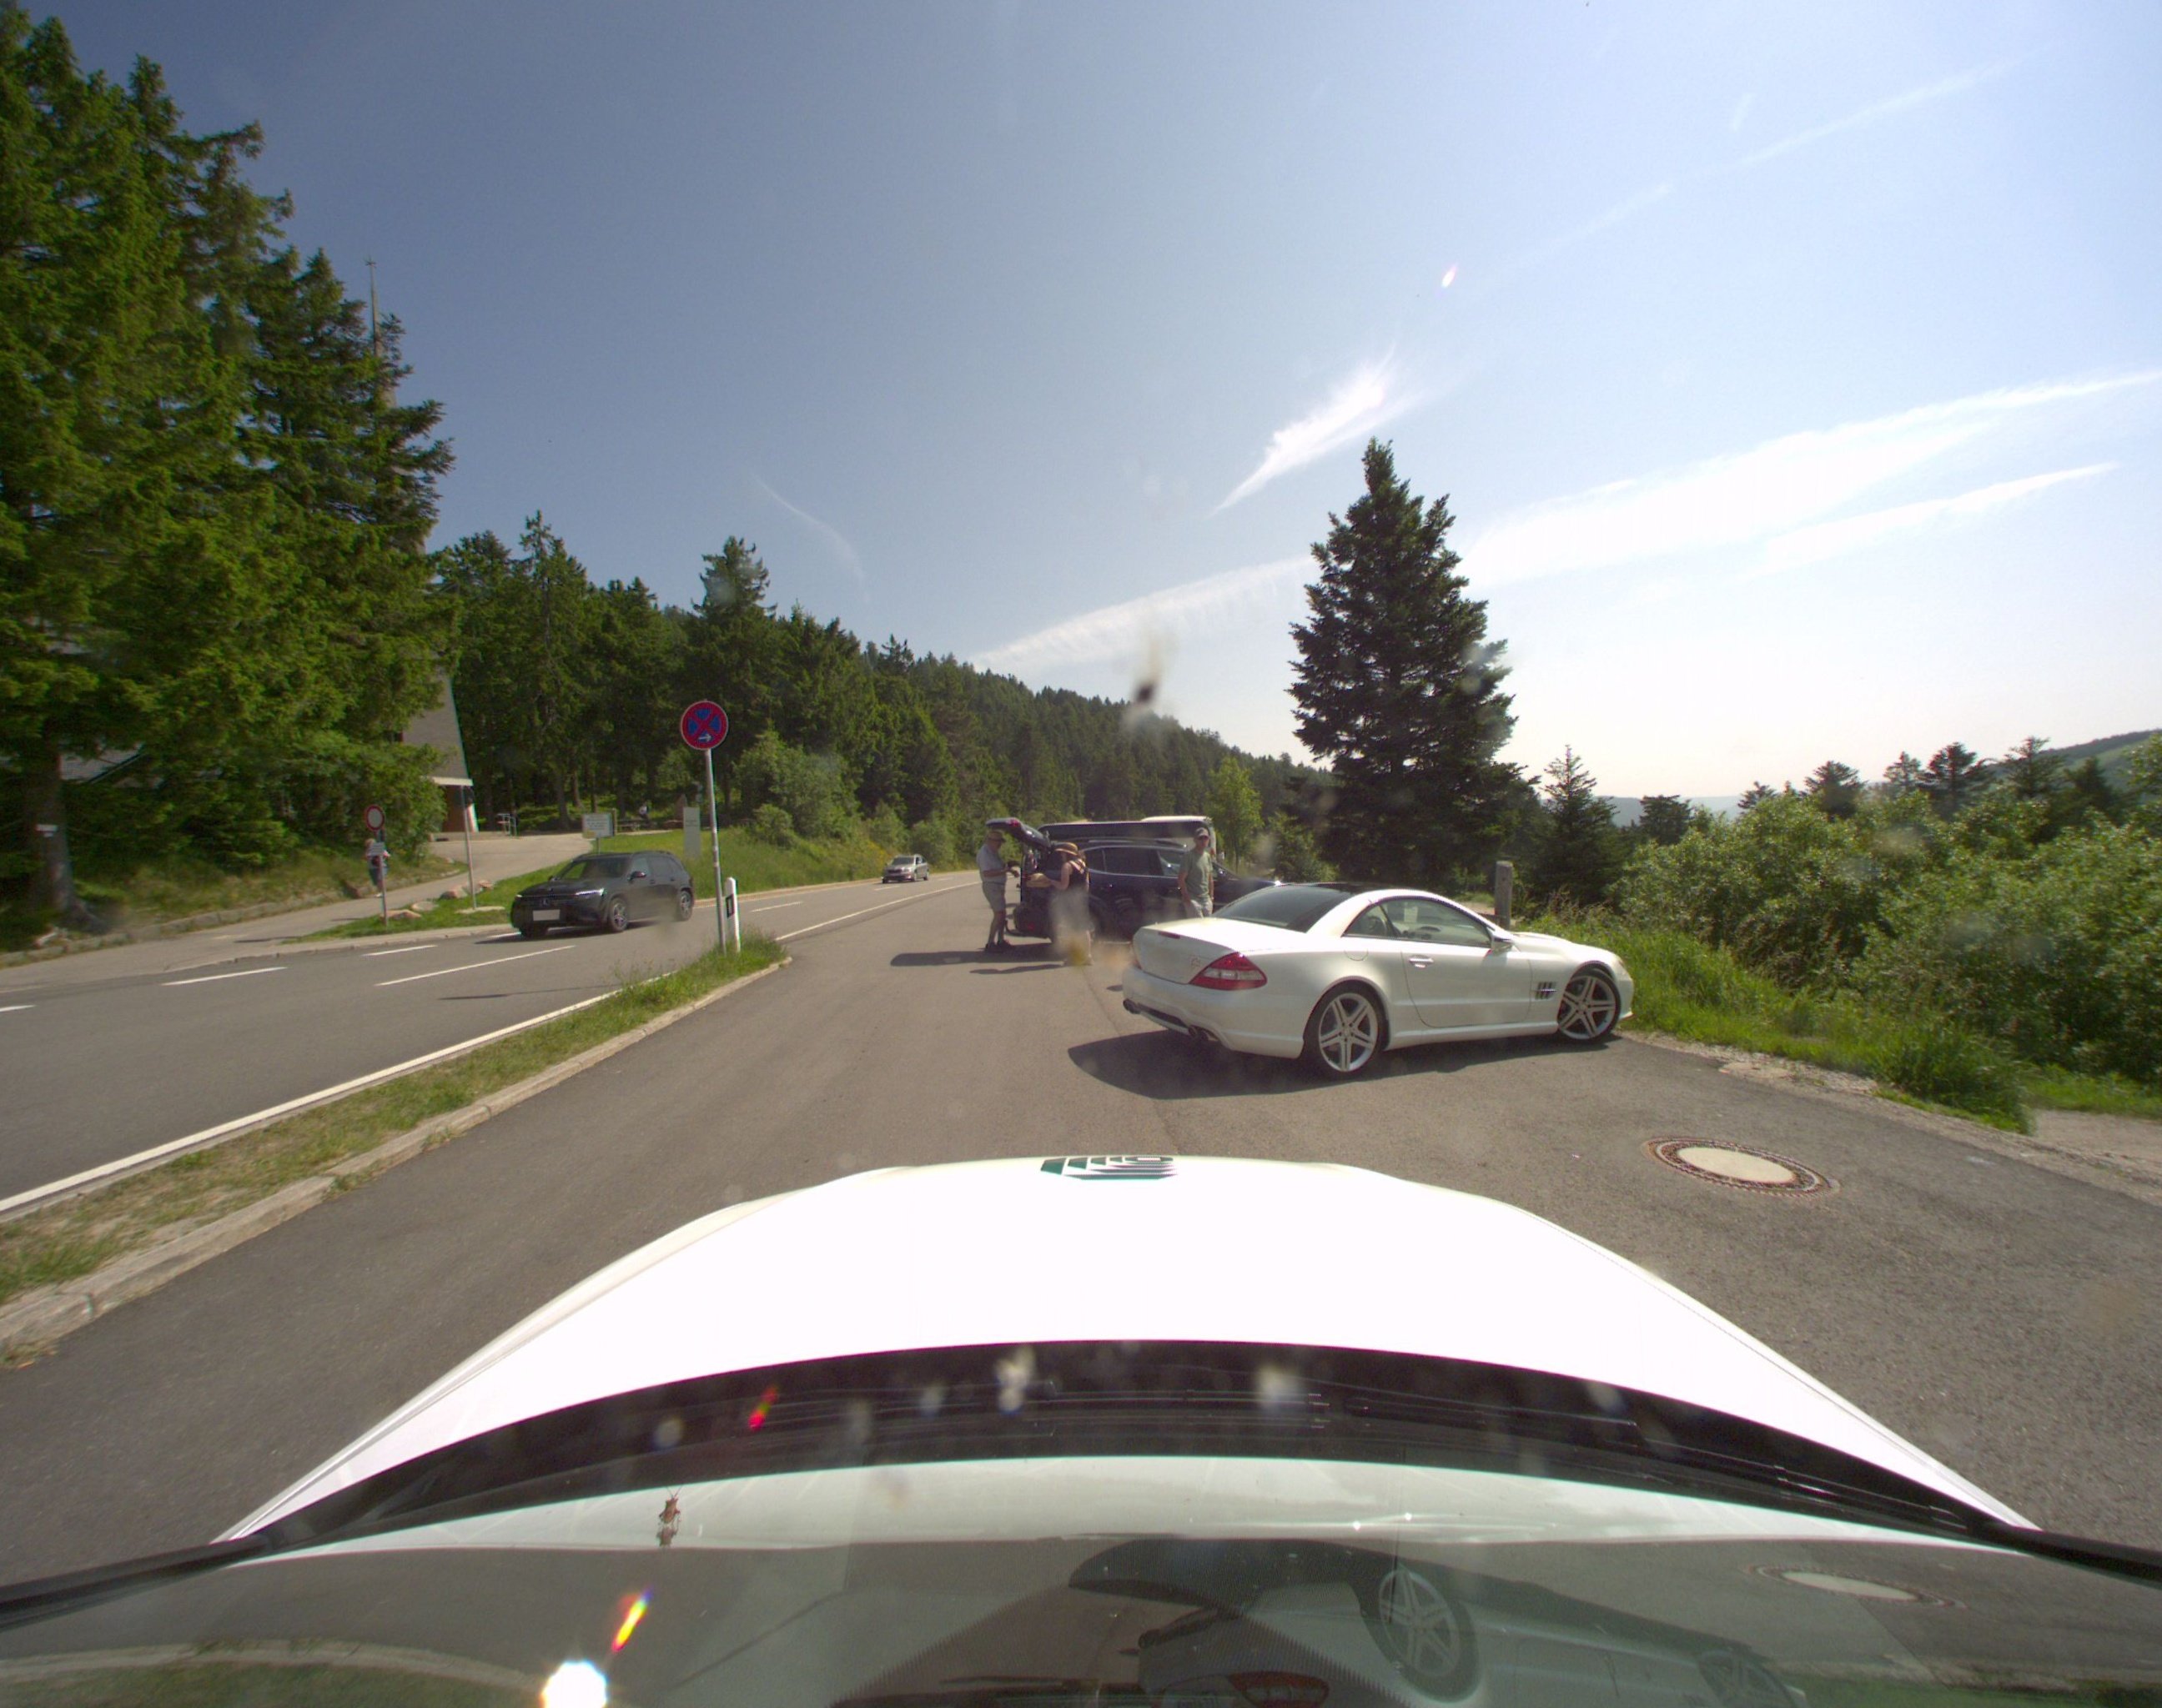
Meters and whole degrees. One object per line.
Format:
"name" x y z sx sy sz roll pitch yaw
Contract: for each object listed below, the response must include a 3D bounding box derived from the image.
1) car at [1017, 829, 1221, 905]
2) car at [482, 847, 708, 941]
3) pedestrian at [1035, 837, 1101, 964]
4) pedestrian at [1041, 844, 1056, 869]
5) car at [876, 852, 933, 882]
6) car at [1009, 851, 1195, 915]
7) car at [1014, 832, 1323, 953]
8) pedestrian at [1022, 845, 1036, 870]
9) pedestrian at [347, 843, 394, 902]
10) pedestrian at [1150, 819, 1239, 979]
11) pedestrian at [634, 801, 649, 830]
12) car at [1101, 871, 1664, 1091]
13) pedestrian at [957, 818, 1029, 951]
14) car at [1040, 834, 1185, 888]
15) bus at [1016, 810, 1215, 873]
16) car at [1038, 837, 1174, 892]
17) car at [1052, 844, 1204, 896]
"car" 0.961 0.319 20.957 4.931 1.695 1.946 -2 0 1
"car" -10.119 0.728 17.485 1.987 1.647 4.567 -3 1 0
"pedestrian" -0.175 0.596 10.722 0.716 1.613 0.533 0 -1 -21
"pedestrian" -2.122 0.147 53.418 0.766 1.585 0.774 -2 0 6
"car" -9.612 0.687 44.741 1.871 1.474 4.718 -1 0 3
"car" 0.416 0.626 18.728 4.078 1.376 1.698 0 0 -8
"car" 1.196 0.562 12.307 4.339 1.626 1.866 1 -1 -7
"pedestrian" -3.428 0.215 53.537 0.766 1.585 0.774 -2 0 6
"pedestrian" -20.718 0.530 23.768 0.720 1.681 0.679 -3 0 -14
"pedestrian" 1.339 0.510 9.671 0.751 1.800 0.728 0 -1 -33
"pedestrian" -29.740 -2.603 55.134 0.674 1.877 0.545 -3 0 32
"car" 2.528 0.820 6.735 4.418 1.296 1.742 1 1 -24
"pedestrian" -1.291 0.409 12.002 0.728 1.870 0.763 1 3 29
"car" 1.111 0.239 29.647 5.019 1.651 2.047 -3 0 -1
"bus" 2.371 -0.805 55.063 13.015 3.532 3.052 -2 0 9
"car" 0.790 0.328 26.525 4.231 1.553 1.837 -3 0 -1
"car" 1.327 0.441 23.853 4.231 1.269 1.837 -3 0 -1
